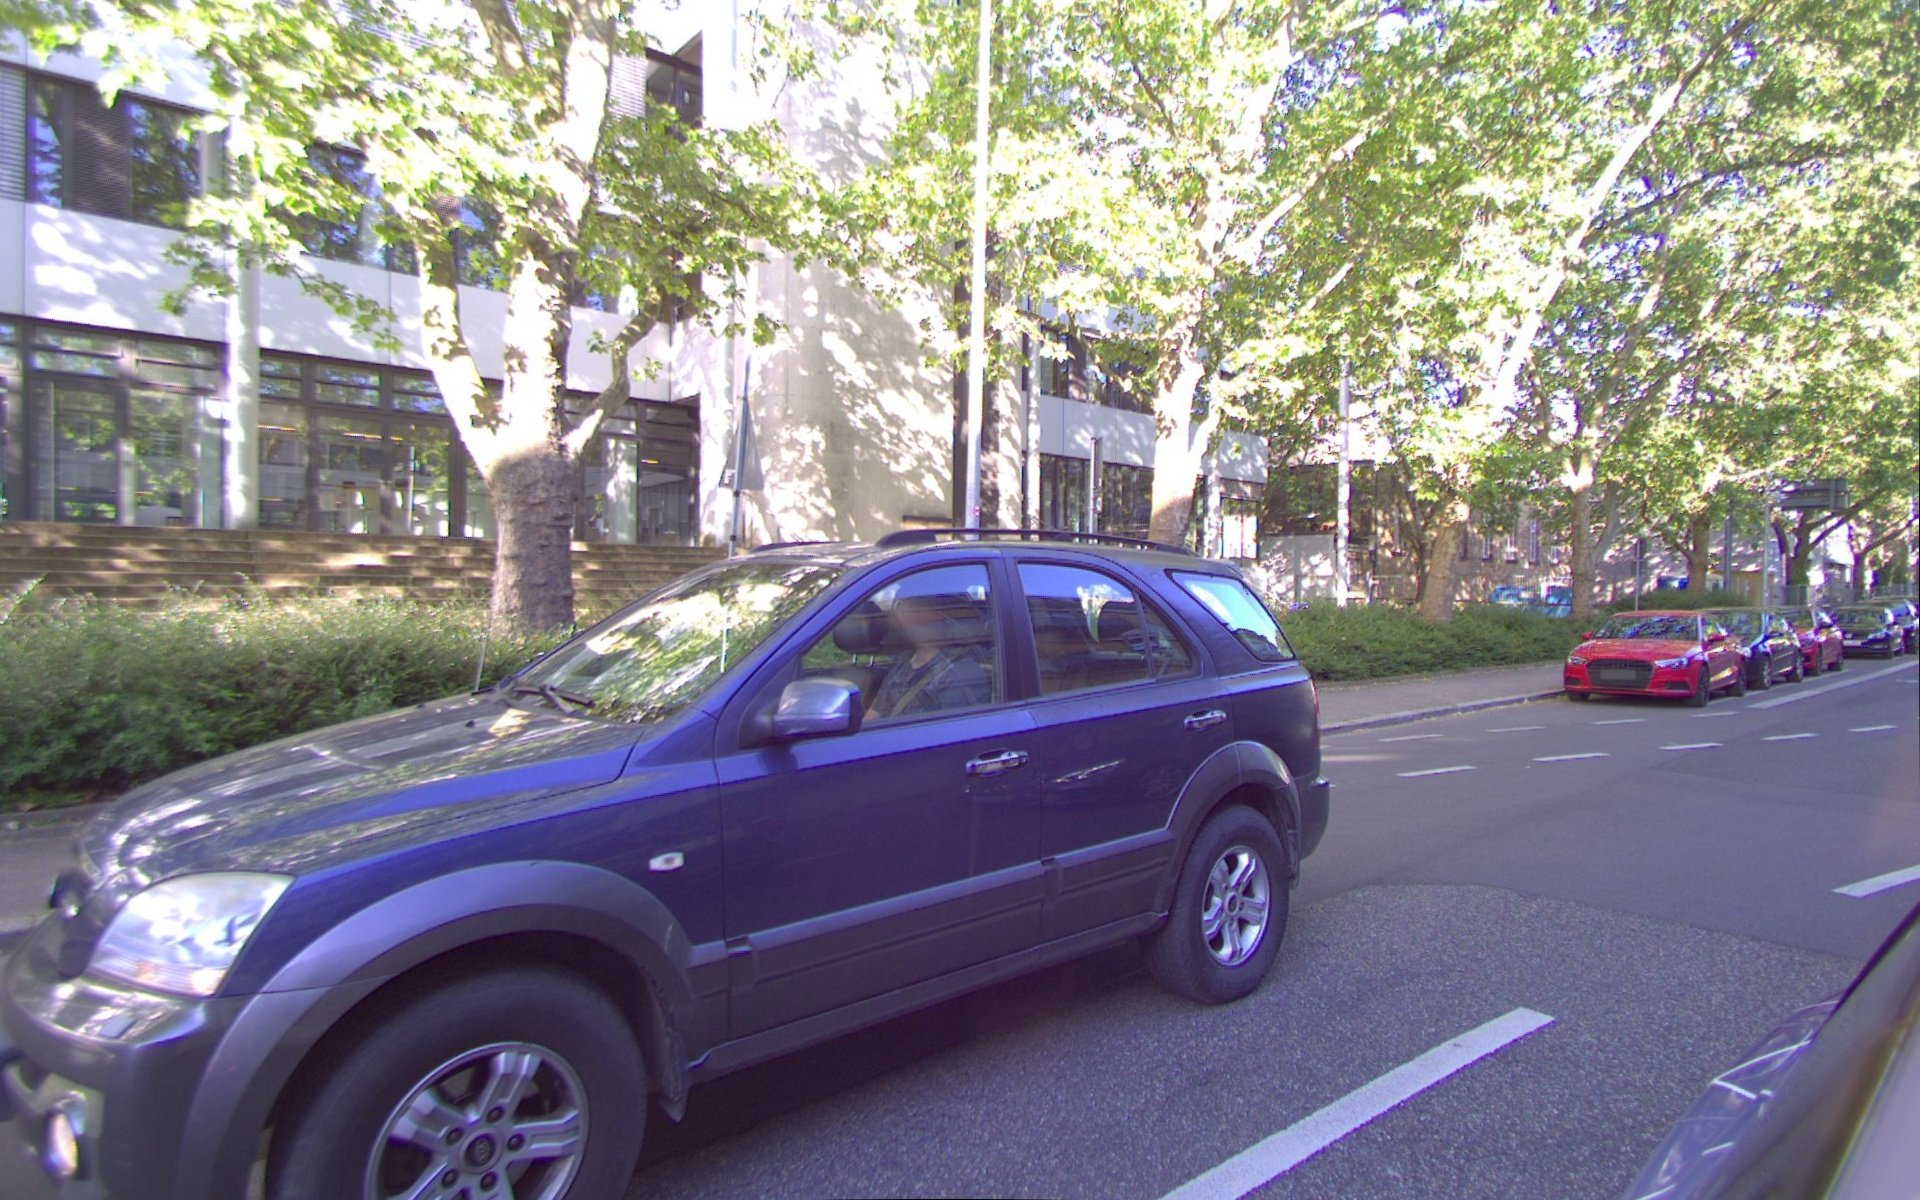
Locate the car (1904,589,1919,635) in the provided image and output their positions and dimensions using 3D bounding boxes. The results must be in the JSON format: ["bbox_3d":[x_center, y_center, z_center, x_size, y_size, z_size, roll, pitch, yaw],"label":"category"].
[{"bbox_3d":[38.877,0.452,39.969,4.403,1.781,1.865,0,0,-41],"label":"car"}]

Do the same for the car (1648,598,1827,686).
[{"bbox_3d":[14.770,0.697,19.142,4.403,1.469,1.865,0,0,-41],"label":"car"}]

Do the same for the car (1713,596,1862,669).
[{"bbox_3d":[18.438,0.642,22.479,4.403,1.469,1.865,0,0,-41],"label":"car"}]

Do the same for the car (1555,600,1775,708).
[{"bbox_3d":[11.323,0.743,16.141,4.403,1.469,1.865,0,0,-41],"label":"car"}]

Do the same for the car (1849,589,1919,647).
[{"bbox_3d":[29.573,0.521,31.808,4.403,1.689,1.865,0,0,-41],"label":"car"}]

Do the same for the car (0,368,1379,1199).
[{"bbox_3d":[-0.464,0.530,3.609,4.403,1.786,1.865,0,0,-41],"label":"car"}]

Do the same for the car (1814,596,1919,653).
[{"bbox_3d":[25.794,0.628,28.613,4.403,1.469,1.865,0,0,-41],"label":"car"}]

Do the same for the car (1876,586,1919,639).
[{"bbox_3d":[33.911,0.402,35.699,4.403,1.781,1.865,0,0,-41],"label":"car"}]
